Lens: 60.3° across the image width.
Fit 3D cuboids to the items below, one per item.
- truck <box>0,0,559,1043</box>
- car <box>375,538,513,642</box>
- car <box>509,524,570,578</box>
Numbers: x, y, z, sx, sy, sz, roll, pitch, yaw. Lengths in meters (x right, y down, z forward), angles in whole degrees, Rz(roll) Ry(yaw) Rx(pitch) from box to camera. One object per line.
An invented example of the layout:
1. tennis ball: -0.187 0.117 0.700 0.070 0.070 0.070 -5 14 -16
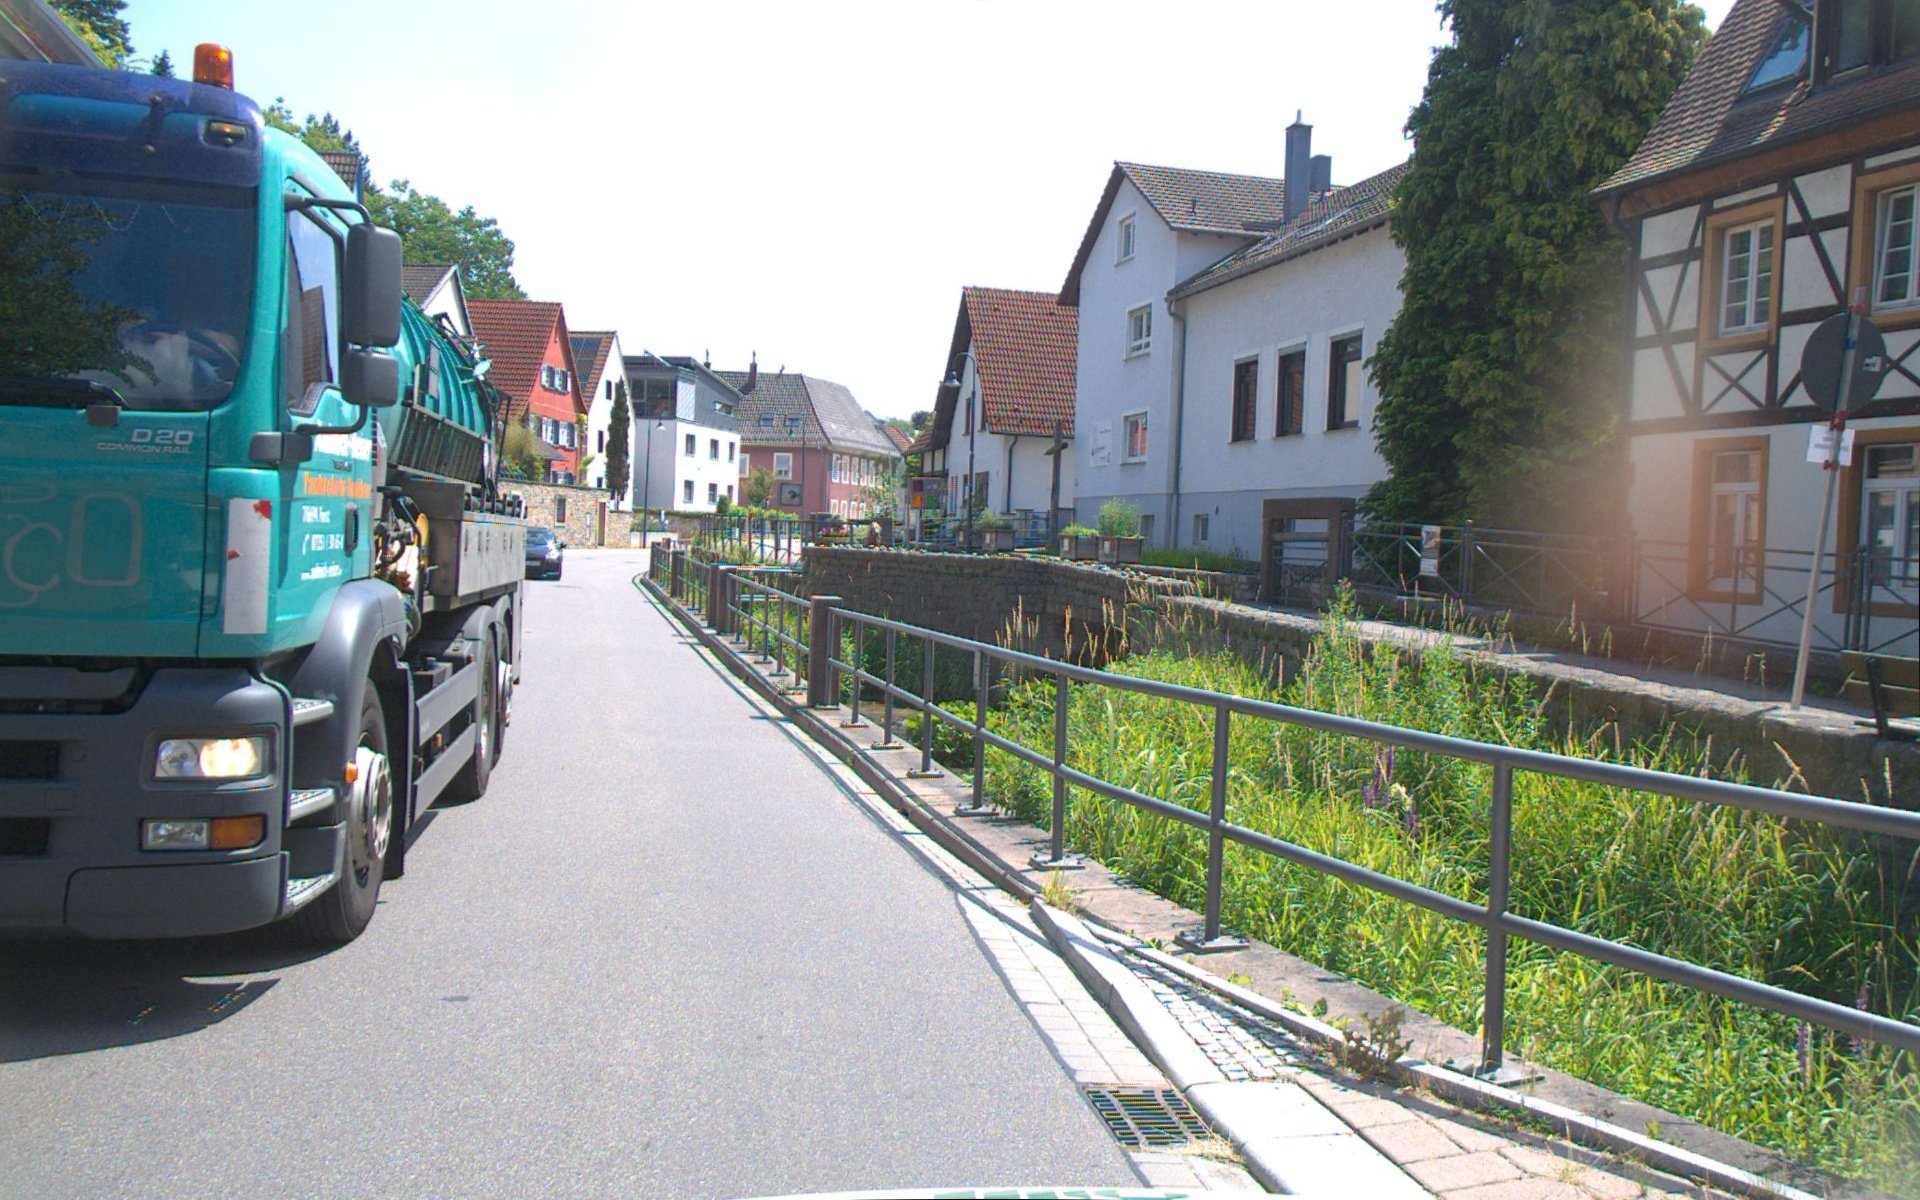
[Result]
1. truck: -3.883 -0.657 9.537 2.367 3.721 9.546 0 1 -10
2. car: -8.216 -0.216 26.662 1.863 1.526 4.597 1 2 -14
3. car: -12.508 -1.464 49.169 1.670 1.491 4.419 1 2 -15
